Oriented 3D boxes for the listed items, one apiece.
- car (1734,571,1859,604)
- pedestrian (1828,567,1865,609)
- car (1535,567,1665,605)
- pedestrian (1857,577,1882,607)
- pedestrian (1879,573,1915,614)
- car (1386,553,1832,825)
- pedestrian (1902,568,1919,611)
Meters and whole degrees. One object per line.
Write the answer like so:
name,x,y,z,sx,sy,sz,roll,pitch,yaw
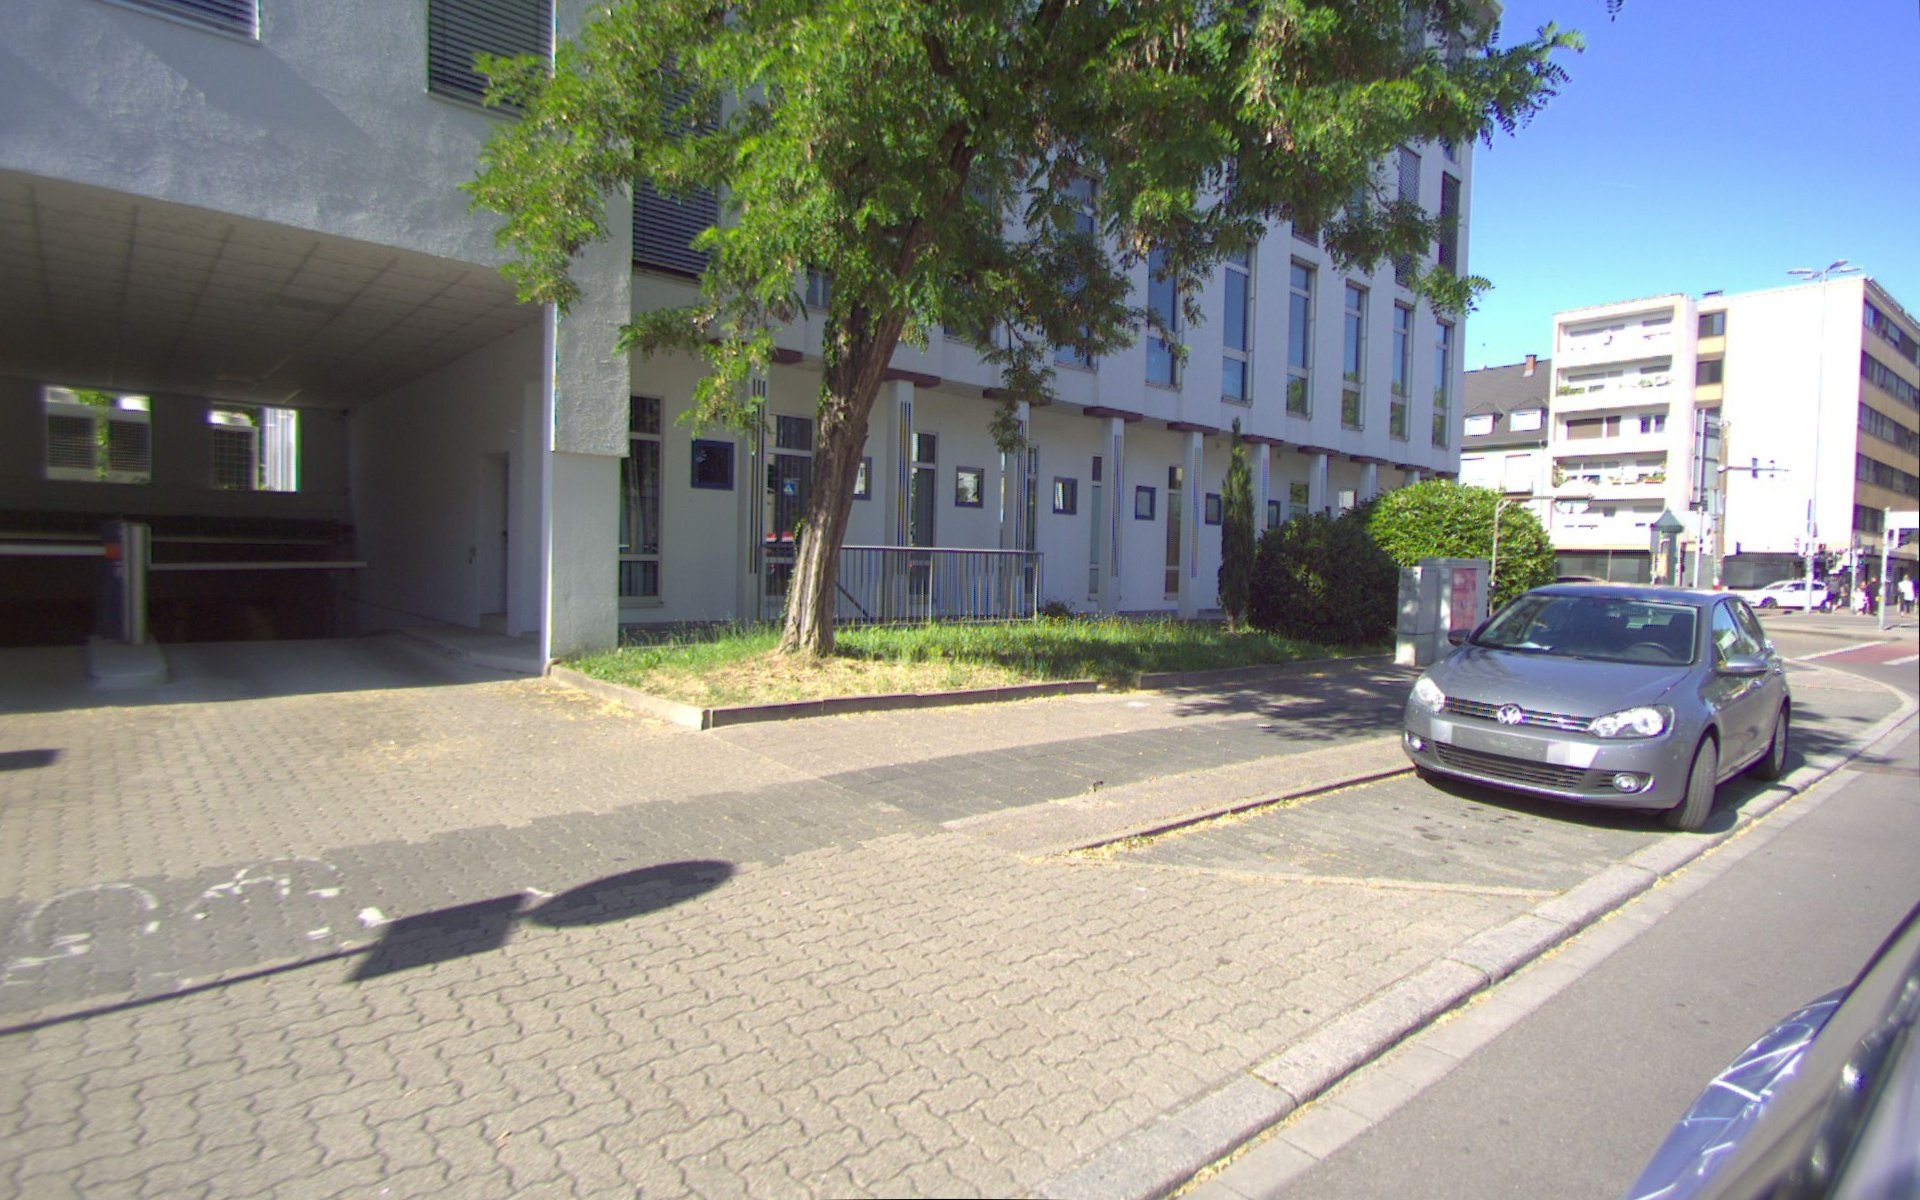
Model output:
car,42.539,-0.663,51.551,4.482,1.538,1.877,2,0,14
pedestrian,36.776,-0.503,41.980,0.786,1.663,0.981,-1,3,15
car,25.995,-0.598,41.228,1.848,1.425,4.059,-1,3,-34
pedestrian,37.824,-0.348,42.080,0.516,1.216,0.649,-3,3,-30
pedestrian,38.270,-0.279,41.330,0.707,1.642,0.899,-3,3,-30
car,4.960,0.492,7.492,4.082,1.466,1.641,1,2,-41
pedestrian,37.986,-0.424,39.955,0.775,1.627,0.926,-1,3,15
